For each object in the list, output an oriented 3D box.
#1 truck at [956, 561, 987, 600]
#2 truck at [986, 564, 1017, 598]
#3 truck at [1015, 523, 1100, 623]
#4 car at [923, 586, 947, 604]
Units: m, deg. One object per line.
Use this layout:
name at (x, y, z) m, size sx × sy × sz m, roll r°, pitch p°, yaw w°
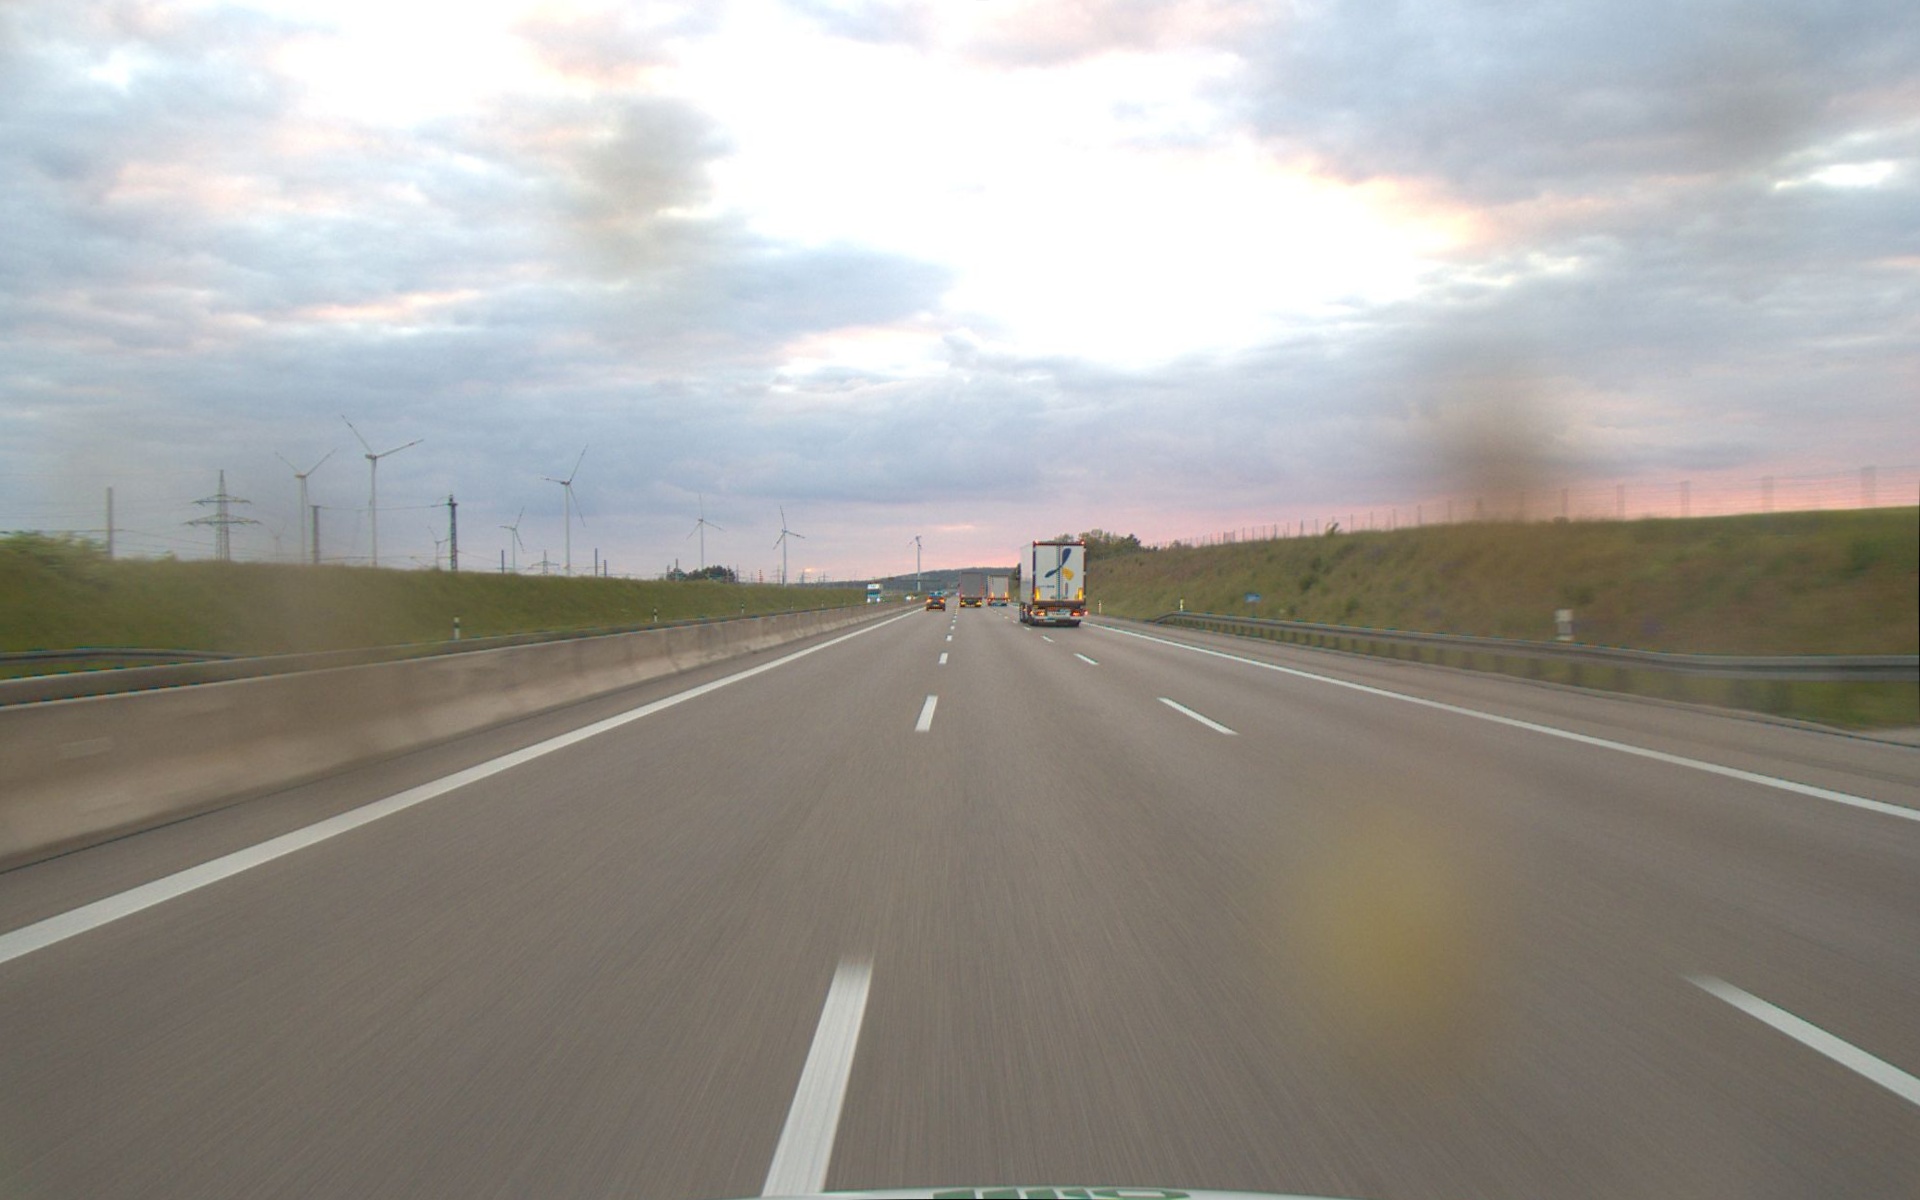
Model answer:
truck at (1.333, -2.246, 194.153) m, size 3.573 × 4.491 × 8.635 m, roll 0°, pitch 1°, yaw 0°
truck at (5.694, -2.622, 227.891) m, size 3.885 × 4.491 × 8.635 m, roll -1°, pitch 1°, yaw 0°
truck at (4.789, -1.340, 83.778) m, size 3.600 × 4.644 × 10.981 m, roll -1°, pitch 1°, yaw 0°
car at (-2.249, -0.463, 149.128) m, size 1.946 × 1.454 × 4.002 m, roll -1°, pitch 1°, yaw 3°
